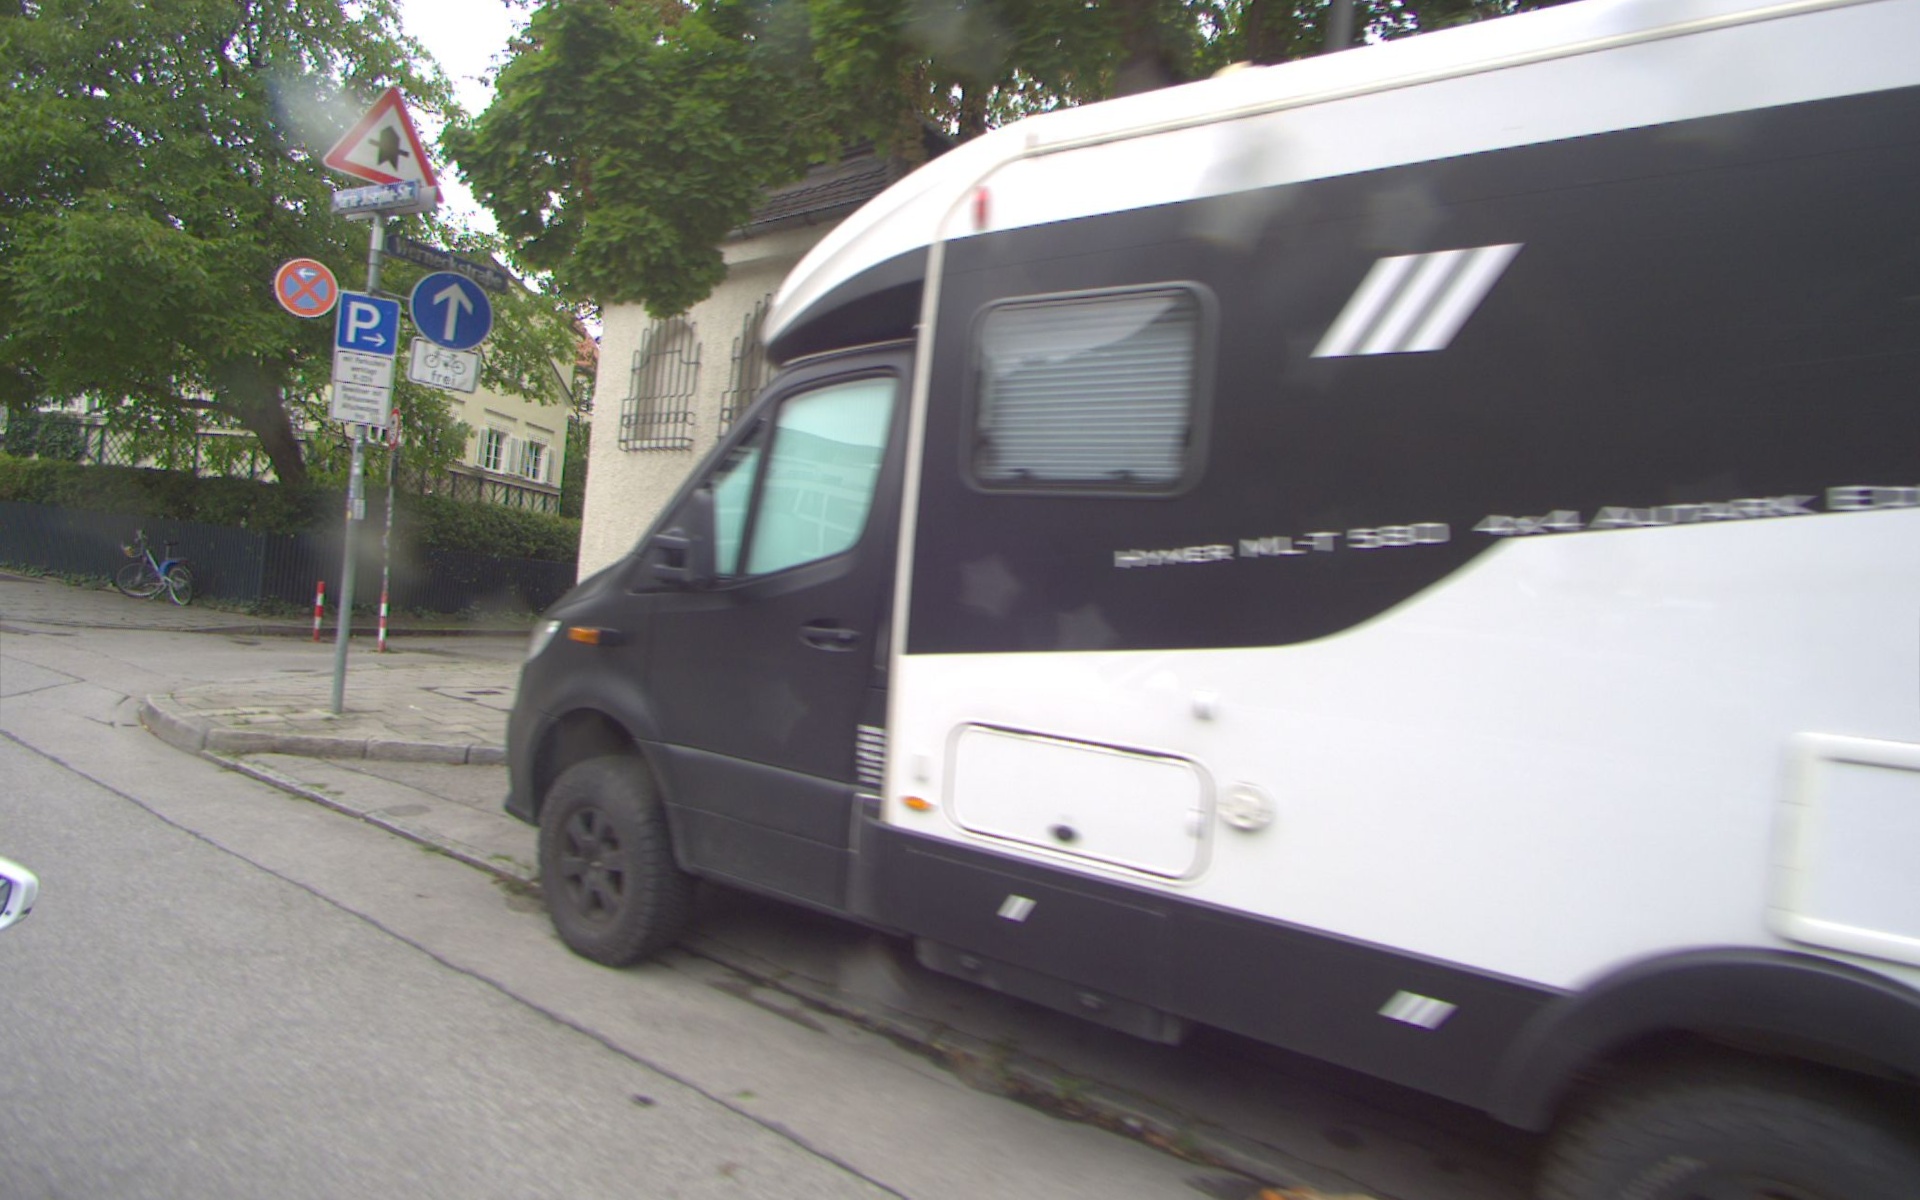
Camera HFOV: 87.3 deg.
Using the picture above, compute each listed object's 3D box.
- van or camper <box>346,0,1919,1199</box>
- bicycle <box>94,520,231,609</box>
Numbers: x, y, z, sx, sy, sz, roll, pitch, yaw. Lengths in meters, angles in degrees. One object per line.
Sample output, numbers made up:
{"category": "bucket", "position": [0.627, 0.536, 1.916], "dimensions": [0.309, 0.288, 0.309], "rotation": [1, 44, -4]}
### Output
{"category": "van or camper", "position": [1.135, 0.029, 3.335], "dimensions": [7.157, 2.942, 2.275], "rotation": [6, 0, 32]}
{"category": "bicycle", "position": [-12.667, -0.562, 15.984], "dimensions": [1.937, 1.176, 0.808], "rotation": [6, 0, 23]}
